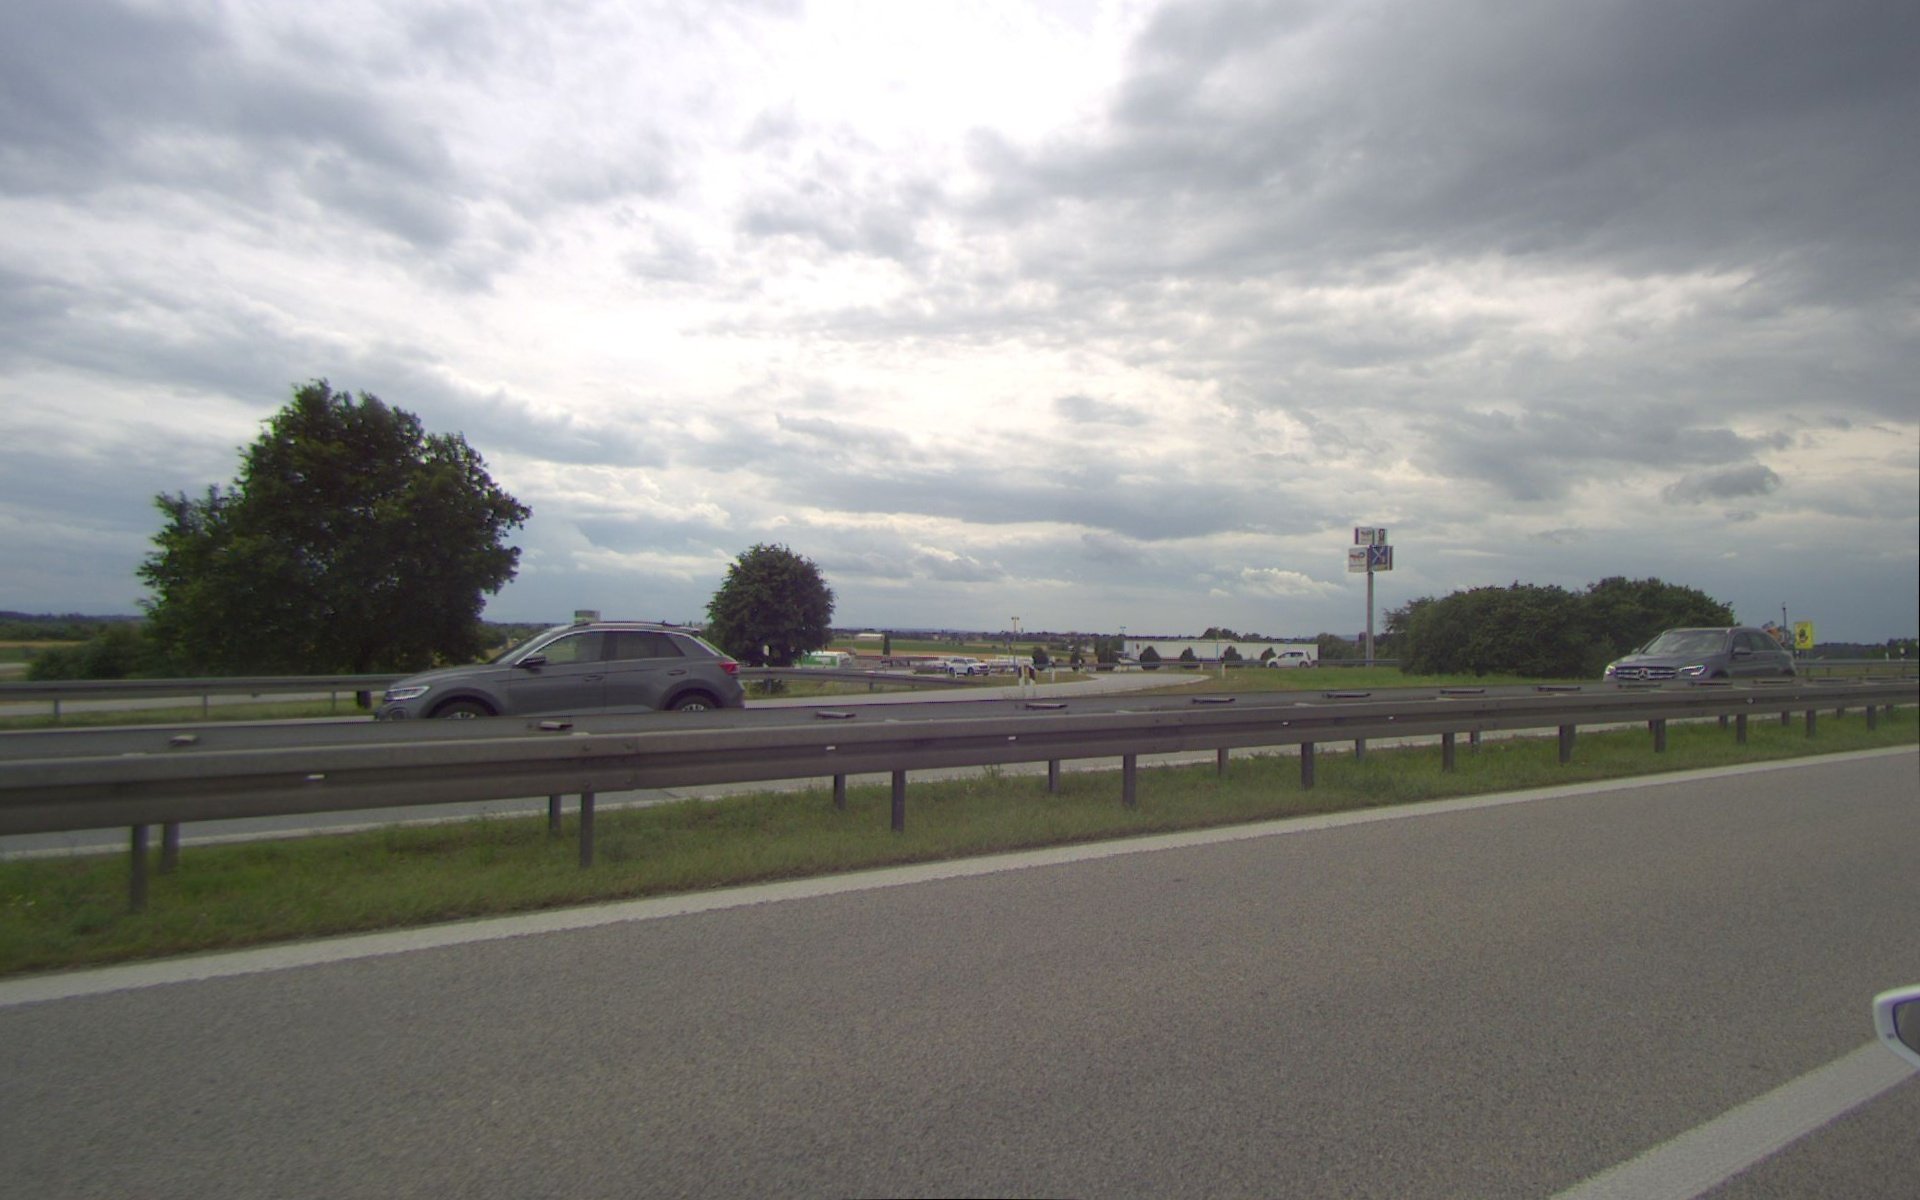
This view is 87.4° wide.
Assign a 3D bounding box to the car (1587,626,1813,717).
[{"bbox_3d":[14.667,1.355,19.856,4.706,1.609,1.883,1,-2,-30],"label":"car"}]

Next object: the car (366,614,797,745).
[{"bbox_3d":[-4.571,0.910,12.443,4.727,1.363,1.817,1,-2,-30],"label":"car"}]

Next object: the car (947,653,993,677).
[{"bbox_3d":[0.994,6.265,97.305,3.925,2.040,1.998,1,0,26],"label":"car"}]

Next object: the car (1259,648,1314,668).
[{"bbox_3d":[26.685,4.743,82.121,3.929,1.318,1.883,-4,-1,30],"label":"car"}]

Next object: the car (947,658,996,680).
[{"bbox_3d":[0.954,6.059,88.131,1.904,1.493,4.240,2,1,-41],"label":"car"}]
